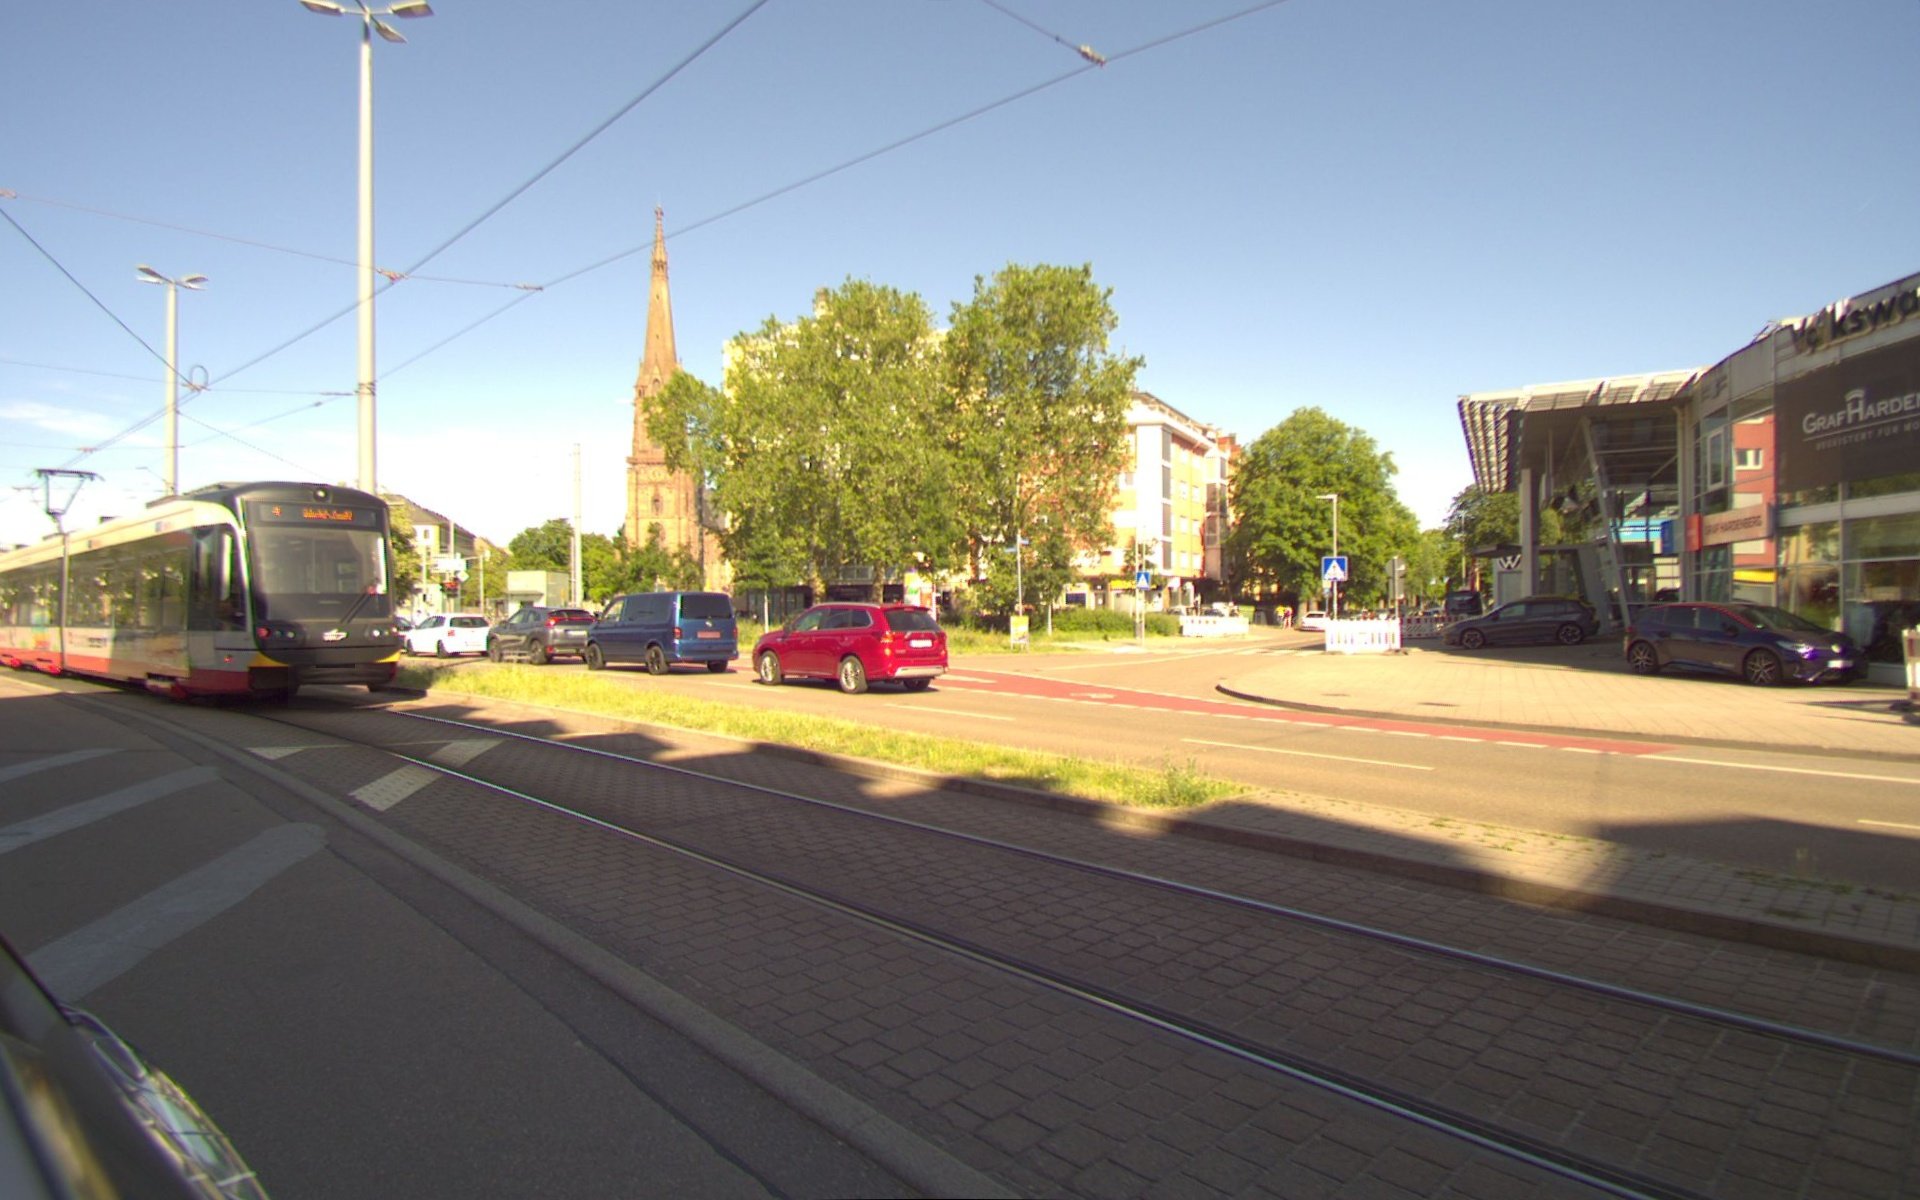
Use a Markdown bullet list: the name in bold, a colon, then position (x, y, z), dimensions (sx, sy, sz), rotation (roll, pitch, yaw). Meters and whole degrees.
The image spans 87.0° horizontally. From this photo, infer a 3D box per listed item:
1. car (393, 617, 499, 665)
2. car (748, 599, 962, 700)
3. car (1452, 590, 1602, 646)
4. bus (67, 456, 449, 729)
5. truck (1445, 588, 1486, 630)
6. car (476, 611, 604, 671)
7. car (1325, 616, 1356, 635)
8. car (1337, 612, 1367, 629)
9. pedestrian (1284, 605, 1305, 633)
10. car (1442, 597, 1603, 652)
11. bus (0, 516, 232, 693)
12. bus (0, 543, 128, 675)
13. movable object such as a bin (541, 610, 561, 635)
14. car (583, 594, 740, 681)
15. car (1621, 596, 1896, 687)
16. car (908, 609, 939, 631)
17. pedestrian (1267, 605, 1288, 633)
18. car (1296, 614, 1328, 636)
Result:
- **car**: position (-17.280, 1.331, 33.955), dimensions (3.998, 1.443, 1.784), rotation (0, 1, 41)
- **car**: position (-2.122, 0.874, 19.537), dimensions (1.778, 1.732, 4.420), rotation (1, -1, -44)
- **car**: position (18.911, 0.623, 33.852), dimensions (4.188, 1.576, 1.740), rotation (-5, -3, 31)
- **bus**: position (-13.058, -0.020, 18.118), dimensions (11.262, 3.617, 2.812), rotation (-1, 0, 40)
- **truck**: position (28.544, 0.487, 57.179), dimensions (1.989, 2.237, 4.179), rotation (-1, 1, 26)
- **car**: position (-12.203, 1.131, 29.308), dimensions (4.163, 1.590, 1.784), rotation (0, -1, 41)
- **car**: position (31.404, 2.061, 83.466), dimensions (1.991, 1.345, 3.963), rotation (-1, 1, 28)
- **car**: position (35.118, 1.835, 90.611), dimensions (1.991, 1.345, 3.963), rotation (-1, 1, 28)
- **pedestrian**: position (25.075, 1.414, 75.937), dimensions (1.161, 2.029, 1.109), rotation (-1, 1, -1)
- **car**: position (17.437, 0.773, 31.486), dimensions (4.188, 1.411, 1.740), rotation (-5, -3, 31)
- **bus**: position (-21.513, 0.168, 25.280), dimensions (10.716, 3.617, 2.812), rotation (-1, 0, 40)
- **bus**: position (-30.475, 0.344, 32.931), dimensions (13.484, 3.617, 2.812), rotation (-1, 0, 40)
- **movable object such as a bin**: position (-28.676, 1.584, 71.017), dimensions (0.926, 1.646, 0.989), rotation (-1, 1, 7)
- **car**: position (-7.332, 0.863, 24.649), dimensions (4.165, 1.948, 1.783), rotation (0, -1, 43)
- **car**: position (15.350, 0.773, 19.771), dimensions (1.730, 1.548, 4.008), rotation (-1, -1, -10)
- **car**: position (-2.666, 1.462, 74.646), dimensions (1.973, 1.510, 3.997), rotation (-1, -1, 2)
- **pedestrian**: position (23.773, 1.449, 75.804), dimensions (1.161, 2.029, 1.109), rotation (-1, 1, -1)
- **car**: position (25.386, 1.795, 72.845), dimensions (1.986, 1.345, 3.971), rotation (-1, 1, 22)
